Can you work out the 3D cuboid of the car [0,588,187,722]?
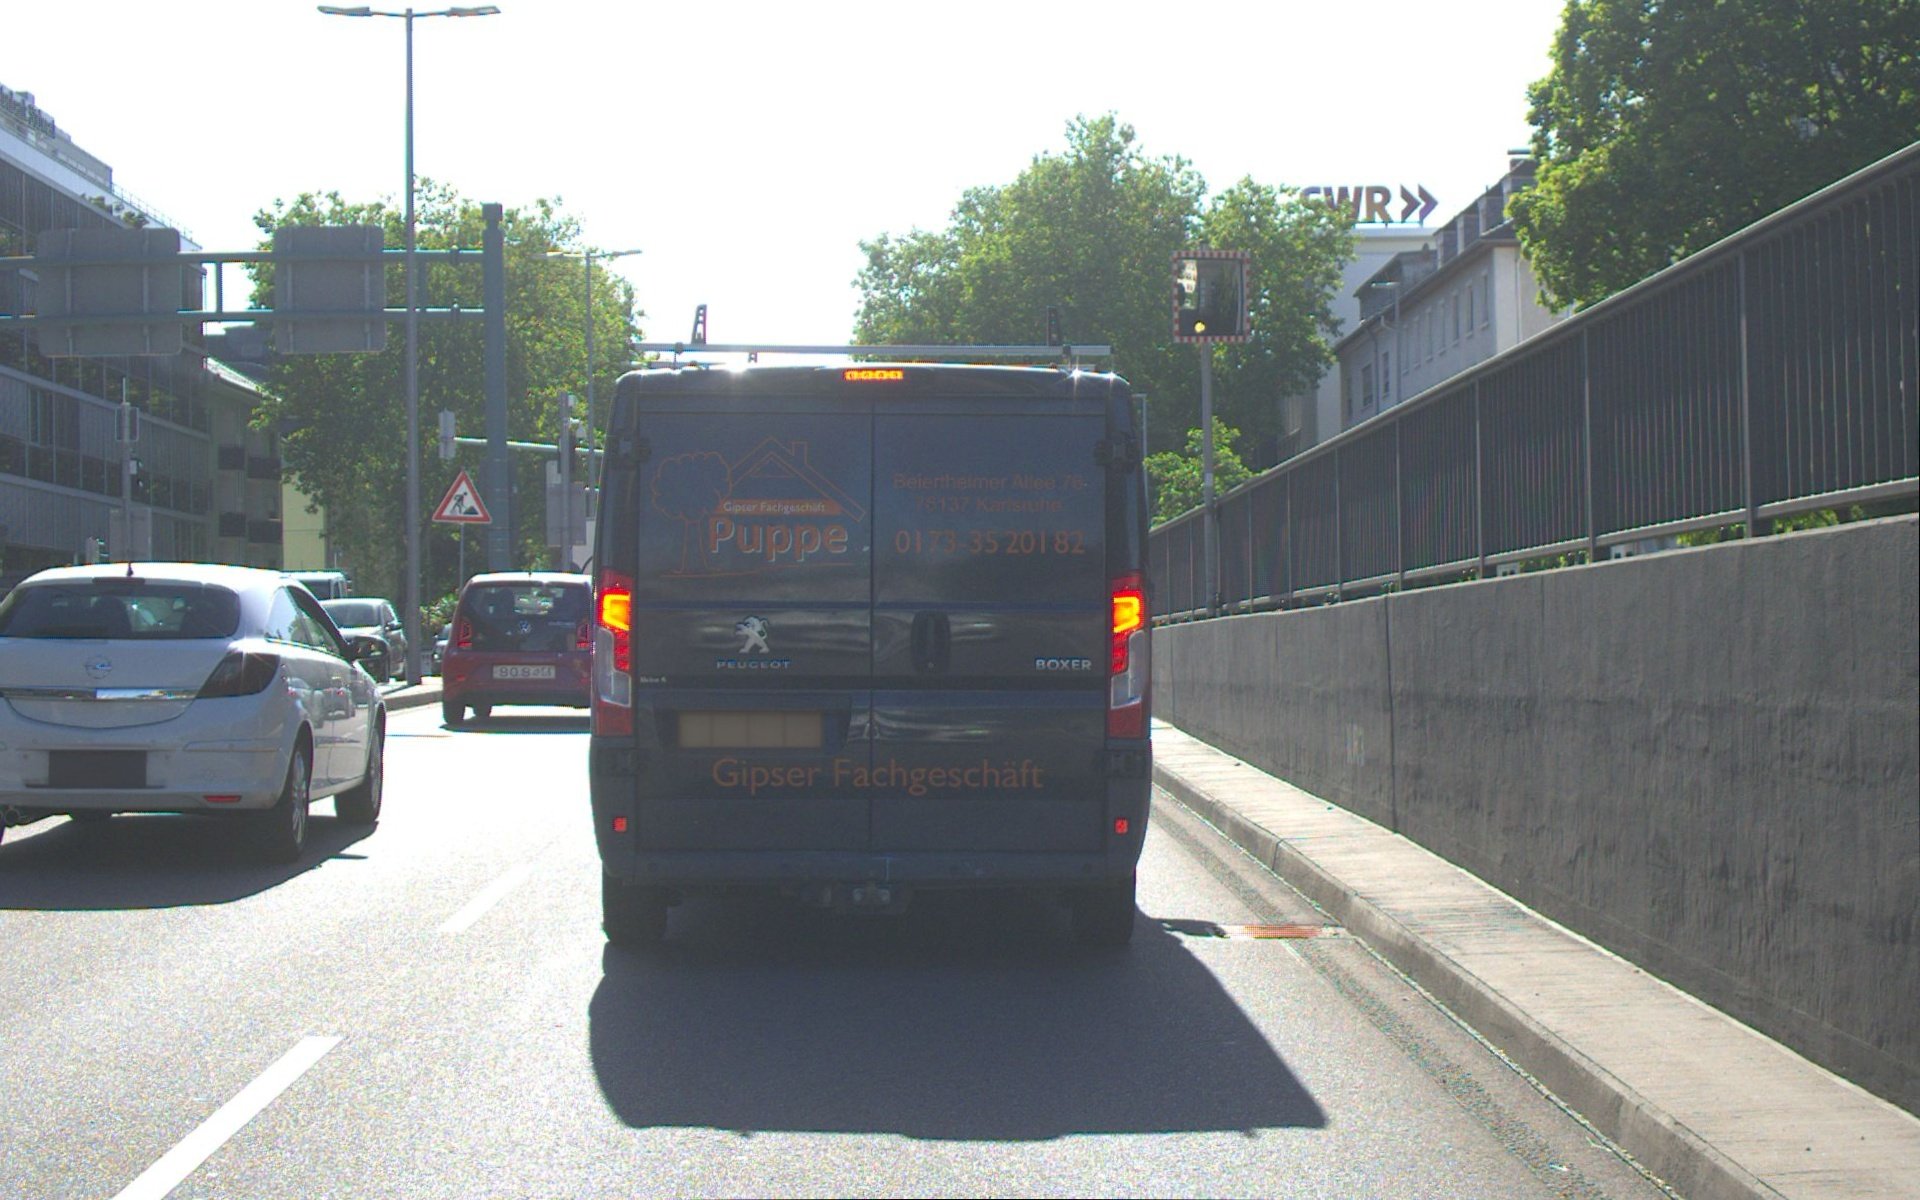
[{"bbox_3d":[-9.622,0.573,37.538,1.538,1.295,3.928,-3,1,-2],"label":"car"}]

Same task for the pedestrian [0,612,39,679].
[{"bbox_3d":[-27.909,1.329,101.100,1.332,1.925,1.026,1,0,-1],"label":"pedestrian"}]

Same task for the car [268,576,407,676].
[{"bbox_3d":[-9.931,0.399,55.061,1.609,1.452,3.609,-4,0,-2],"label":"car"}]

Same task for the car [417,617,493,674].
[{"bbox_3d":[-13.727,1.234,93.649,1.591,1.440,3.496,-3,0,-2],"label":"car"}]

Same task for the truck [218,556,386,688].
[{"bbox_3d":[-13.484,0.460,70.834,2.229,2.519,6.129,-2,0,0],"label":"truck"}]

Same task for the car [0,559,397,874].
[{"bbox_3d":[-3.965,0.508,17.596,1.619,1.398,3.852,1,1,-2],"label":"car"}]

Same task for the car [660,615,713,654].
[{"bbox_3d":[-11.397,1.431,143.267,1.936,1.550,3.923,1,0,-1],"label":"car"}]

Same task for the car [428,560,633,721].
[{"bbox_3d":[-4.190,0.360,33.967,1.689,1.478,3.319,1,1,-2],"label":"car"}]

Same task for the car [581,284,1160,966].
[{"bbox_3d":[-0.359,0.095,14.072,2.030,2.394,3.973,0,0,-1],"label":"car"}]
